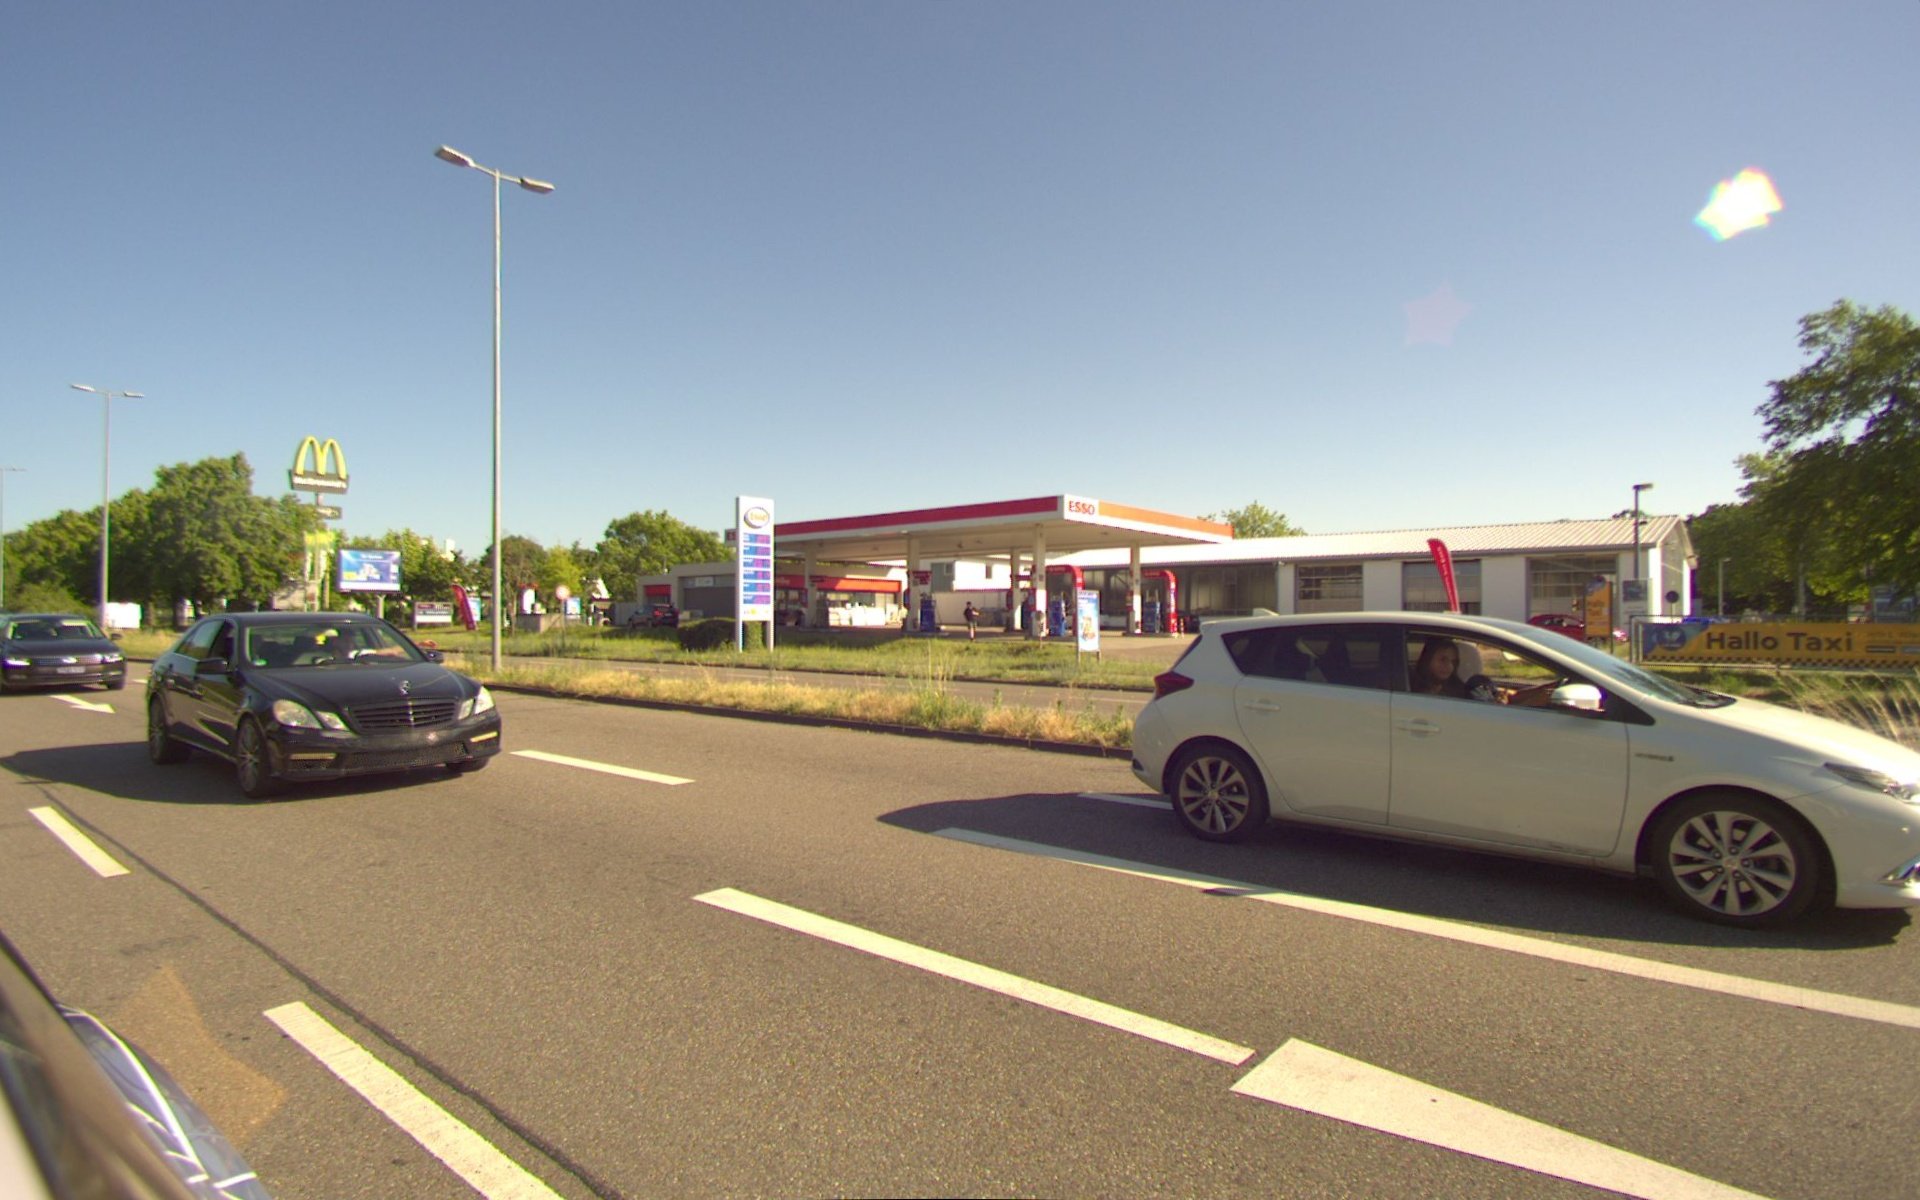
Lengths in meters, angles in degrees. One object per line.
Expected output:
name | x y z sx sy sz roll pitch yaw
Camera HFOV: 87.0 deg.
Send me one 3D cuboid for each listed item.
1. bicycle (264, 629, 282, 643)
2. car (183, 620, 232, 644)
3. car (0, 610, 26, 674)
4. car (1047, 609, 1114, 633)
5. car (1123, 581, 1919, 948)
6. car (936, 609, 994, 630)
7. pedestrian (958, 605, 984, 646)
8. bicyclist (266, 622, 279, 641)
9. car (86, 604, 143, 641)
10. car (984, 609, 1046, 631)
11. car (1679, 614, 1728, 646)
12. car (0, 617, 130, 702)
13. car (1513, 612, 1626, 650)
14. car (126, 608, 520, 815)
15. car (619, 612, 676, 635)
bicycle | -48.318 2.519 71.149 1.741 0.874 0.621 0 0 42
car | -52.394 2.235 70.430 4.476 1.502 1.740 0 -4 41
car | -26.371 1.116 26.988 3.876 1.629 1.653 -1 0 40
car | 7.748 1.343 65.254 3.975 1.420 1.661 0 -3 40
car | 3.216 0.670 5.879 4.194 1.501 1.741 0 0 40
car | 0.315 1.362 71.758 3.975 1.420 1.661 0 -3 40
pedestrian | 0.494 1.086 44.155 0.777 1.763 0.907 0 0 -28
bicyclist | -48.353 2.197 71.195 0.700 1.298 0.621 0 0 41
car | -61.318 1.611 73.375 5.817 2.466 2.002 0 -4 40
car | 3.727 1.352 68.975 3.975 1.420 1.661 0 -3 40
car | 36.186 1.435 49.210 1.653 1.375 3.723 0 0 41
car | -17.648 1.061 19.508 4.283 1.438 1.775 -1 0 40
car | 26.957 1.340 44.851 1.757 1.528 4.003 -1 0 -44
car | -6.057 0.814 9.402 4.399 1.449 1.845 0 0 40
car | -20.140 1.466 65.111 3.975 1.420 1.661 0 0 40
